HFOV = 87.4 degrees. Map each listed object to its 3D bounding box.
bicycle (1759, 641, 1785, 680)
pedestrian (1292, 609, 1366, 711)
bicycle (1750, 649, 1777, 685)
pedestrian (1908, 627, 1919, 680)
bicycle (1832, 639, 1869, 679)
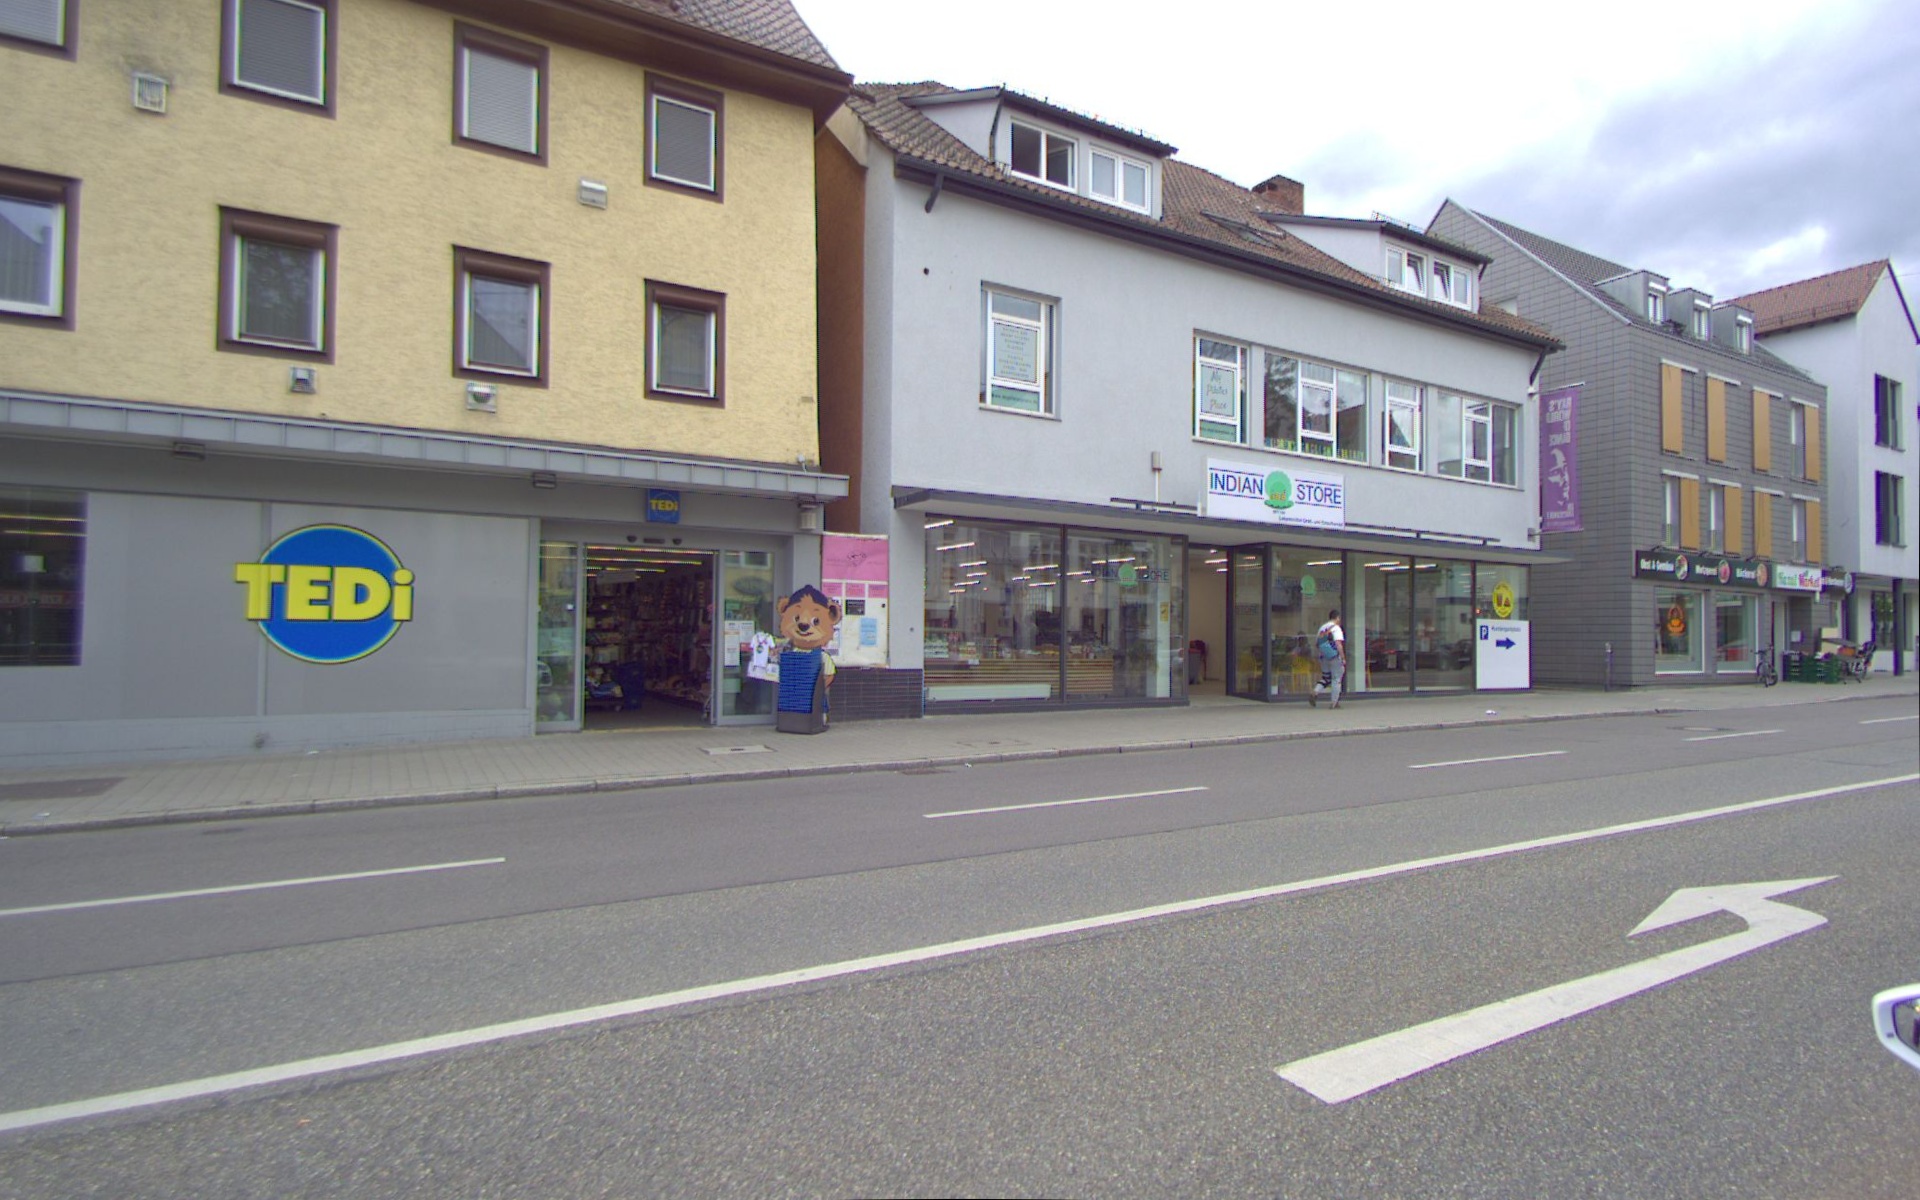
[{"bbox_3d":[24.793,1.831,30.664,1.279,1.142,0.383,1,-2,-40],"label":"bicycle"},{"bbox_3d":[6.555,1.052,17.848,0.969,1.728,0.750,1,1,-30],"label":"pedestrian"},{"bbox_3d":[22.002,1.824,27.509,1.472,0.966,0.323,2,-2,-41],"label":"bicycle"},{"bbox_3d":[30.360,1.675,31.493,0.744,1.631,0.725,1,-1,-29],"label":"pedestrian"},{"bbox_3d":[27.687,1.829,31.226,1.806,1.201,0.384,1,-2,-33],"label":"bicycle"}]
